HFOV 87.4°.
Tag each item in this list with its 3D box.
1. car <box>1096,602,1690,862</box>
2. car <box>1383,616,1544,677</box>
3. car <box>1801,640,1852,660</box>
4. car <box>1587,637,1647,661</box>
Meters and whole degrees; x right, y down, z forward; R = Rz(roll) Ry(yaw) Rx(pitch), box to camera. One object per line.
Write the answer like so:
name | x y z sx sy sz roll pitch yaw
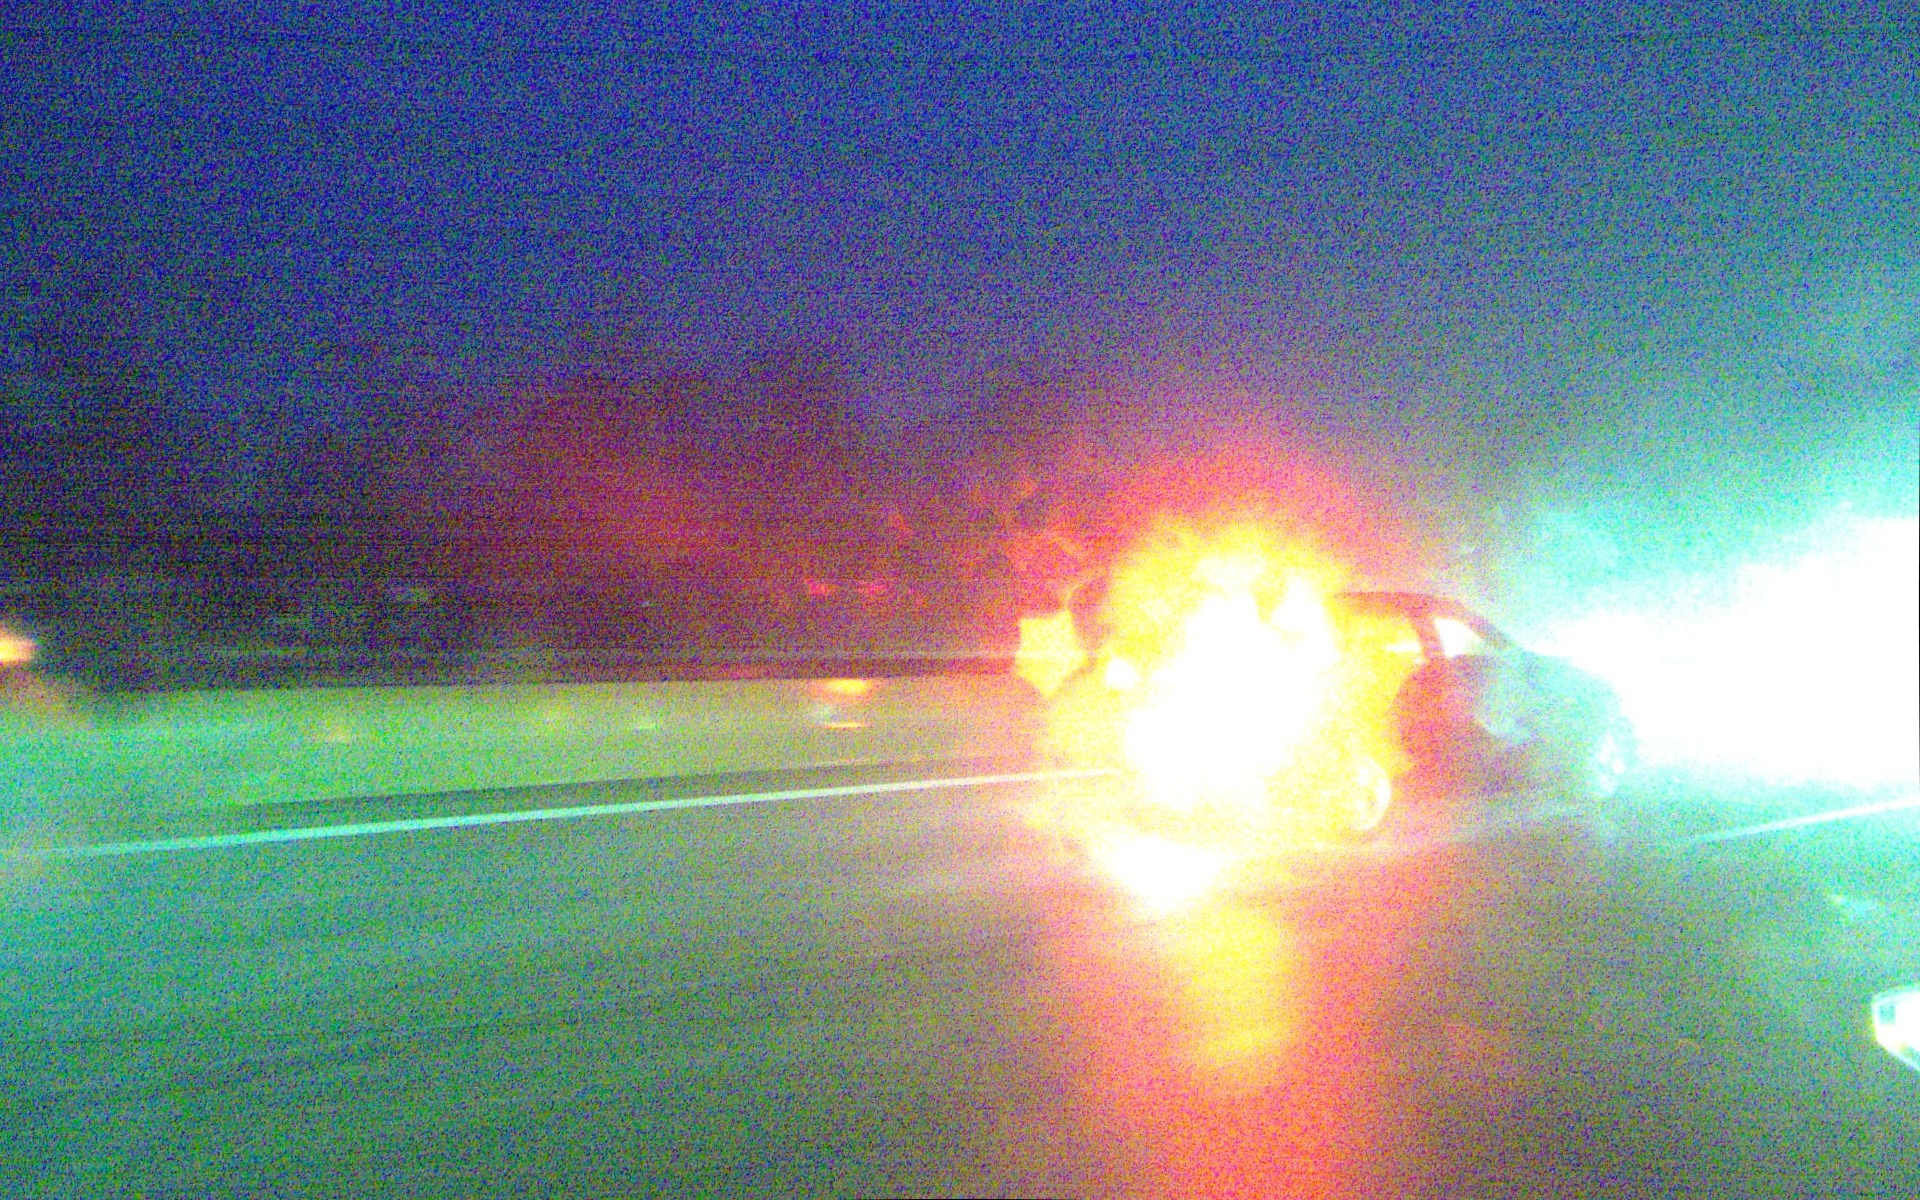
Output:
car | 3.539 0.831 8.006 4.691 1.561 1.851 1 0 -28
car | 14.403 1.366 28.660 4.831 1.617 1.660 3 -4 -29
car | 58.430 3.370 67.750 3.190 1.301 1.491 2 -4 -27
car | 39.052 2.893 59.673 3.509 1.302 1.480 1 0 -28
